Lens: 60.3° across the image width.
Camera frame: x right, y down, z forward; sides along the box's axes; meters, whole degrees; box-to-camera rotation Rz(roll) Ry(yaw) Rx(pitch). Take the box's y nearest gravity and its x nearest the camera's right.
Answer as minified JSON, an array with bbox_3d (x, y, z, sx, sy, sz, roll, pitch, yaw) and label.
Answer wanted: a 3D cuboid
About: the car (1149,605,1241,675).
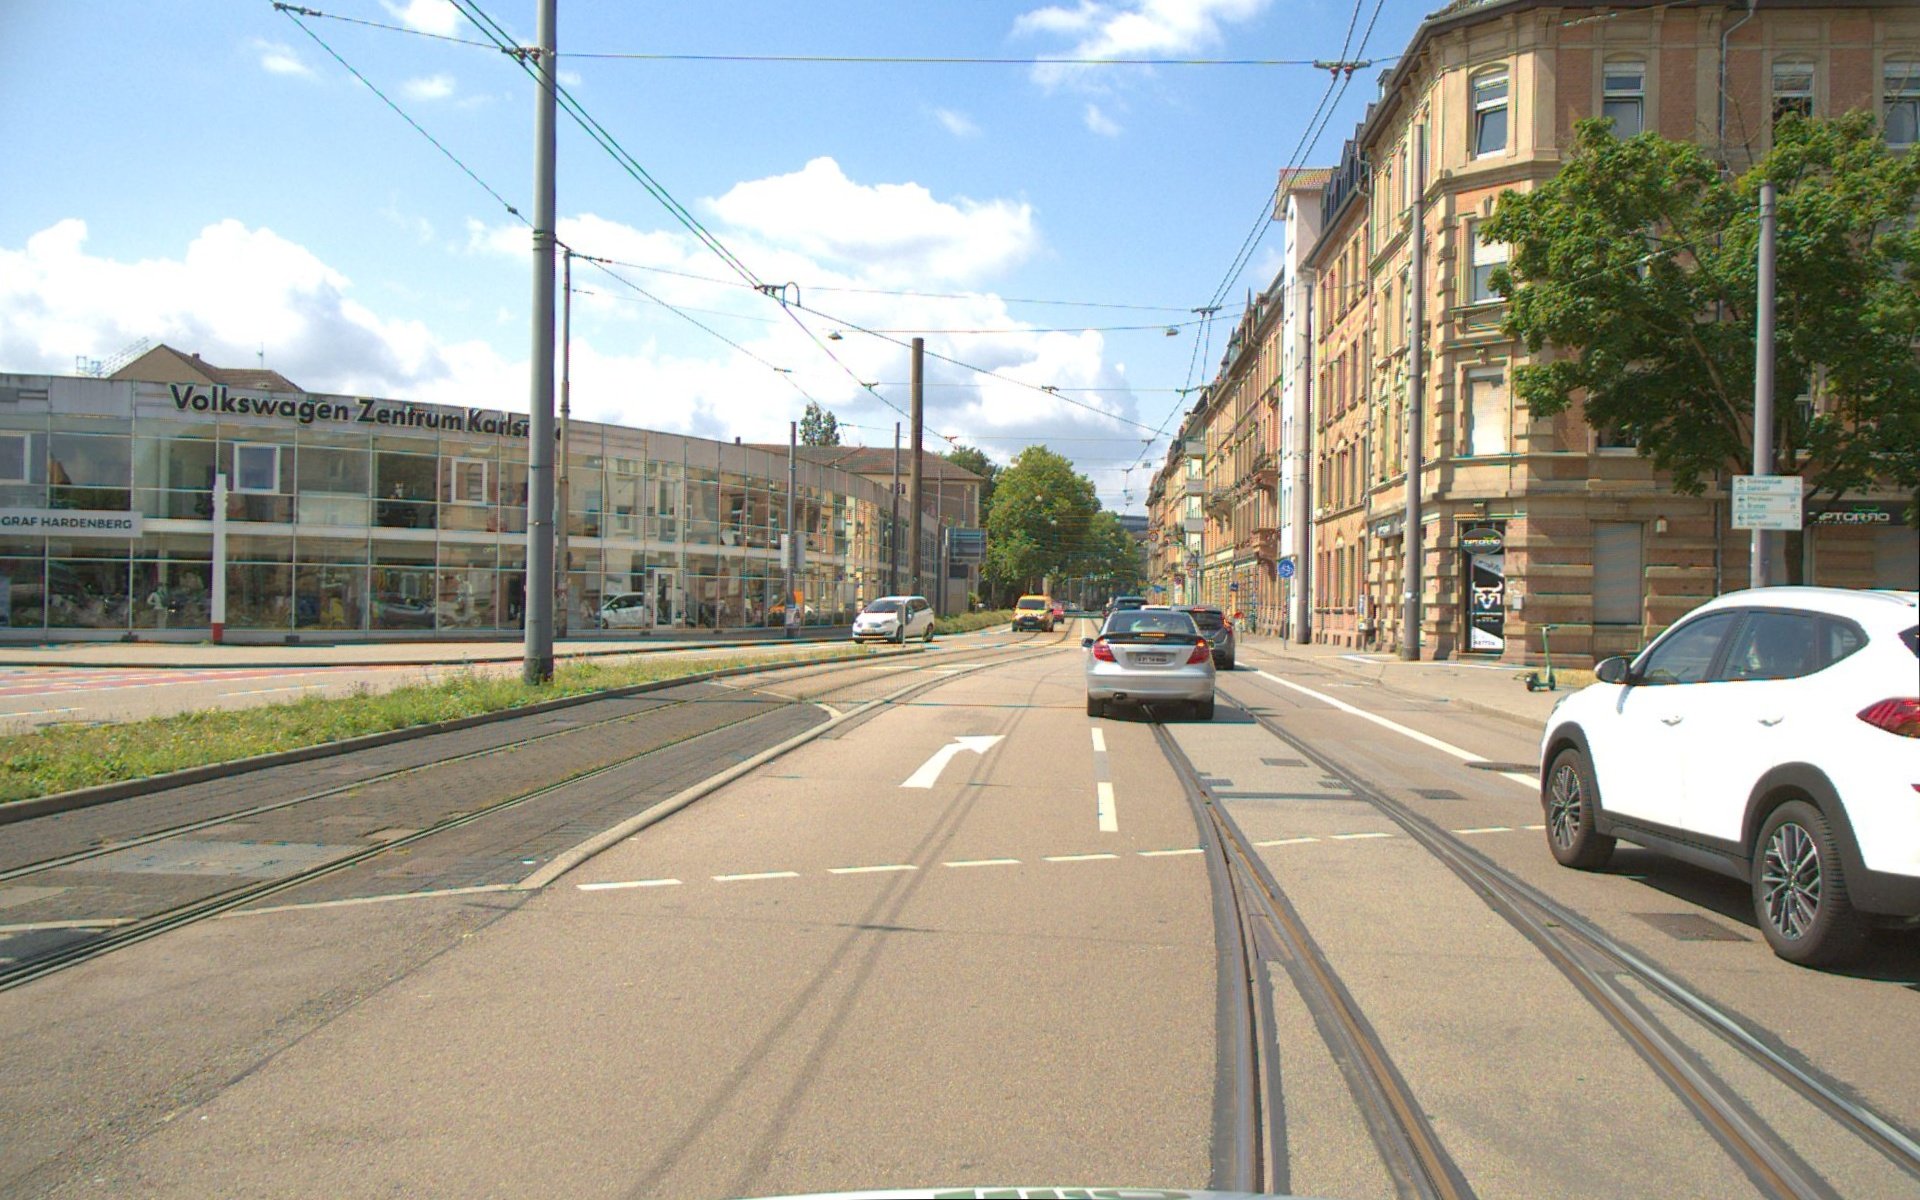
[{"bbox_3d":[5.624,0.916,39.948,1.777,1.551,4.086,1,0,2],"label":"car"}]

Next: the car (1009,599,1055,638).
[{"bbox_3d":[3.634,0.911,82.658,1.870,1.898,4.371,-1,0,8],"label":"car"}]

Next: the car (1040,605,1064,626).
[{"bbox_3d":[6.597,1.085,117.958,1.666,1.453,3.903,1,0,4],"label":"car"}]

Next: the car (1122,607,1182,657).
[{"bbox_3d":[6.268,1.022,54.326,1.776,1.551,3.957,1,0,4],"label":"car"}]

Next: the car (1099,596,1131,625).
[{"bbox_3d":[10.341,0.702,110.586,1.952,1.892,4.001,1,0,3],"label":"car"}]

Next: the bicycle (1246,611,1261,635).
[{"bbox_3d":[14.858,1.175,83.866,0.574,1.199,2.206,0,0,5],"label":"bicycle"}]

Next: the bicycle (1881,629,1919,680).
[{"bbox_3d":[20.816,1.182,35.562,1.611,1.068,0.765,1,0,12],"label":"bicycle"}]

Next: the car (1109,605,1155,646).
[{"bbox_3d":[7.235,1.065,69.875,1.776,1.691,4.087,0,0,4],"label":"car"}]

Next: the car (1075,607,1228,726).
[{"bbox_3d":[2.563,0.840,22.946,1.777,1.445,4.189,1,0,2],"label":"car"}]

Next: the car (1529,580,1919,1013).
[{"bbox_3d":[4.566,0.745,8.445,1.814,1.662,4.180,1,0,-1],"label":"car"}]

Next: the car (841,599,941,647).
[{"bbox_3d":[-2.459,0.808,60.058,1.732,1.632,4.489,-1,0,26],"label":"car"}]
